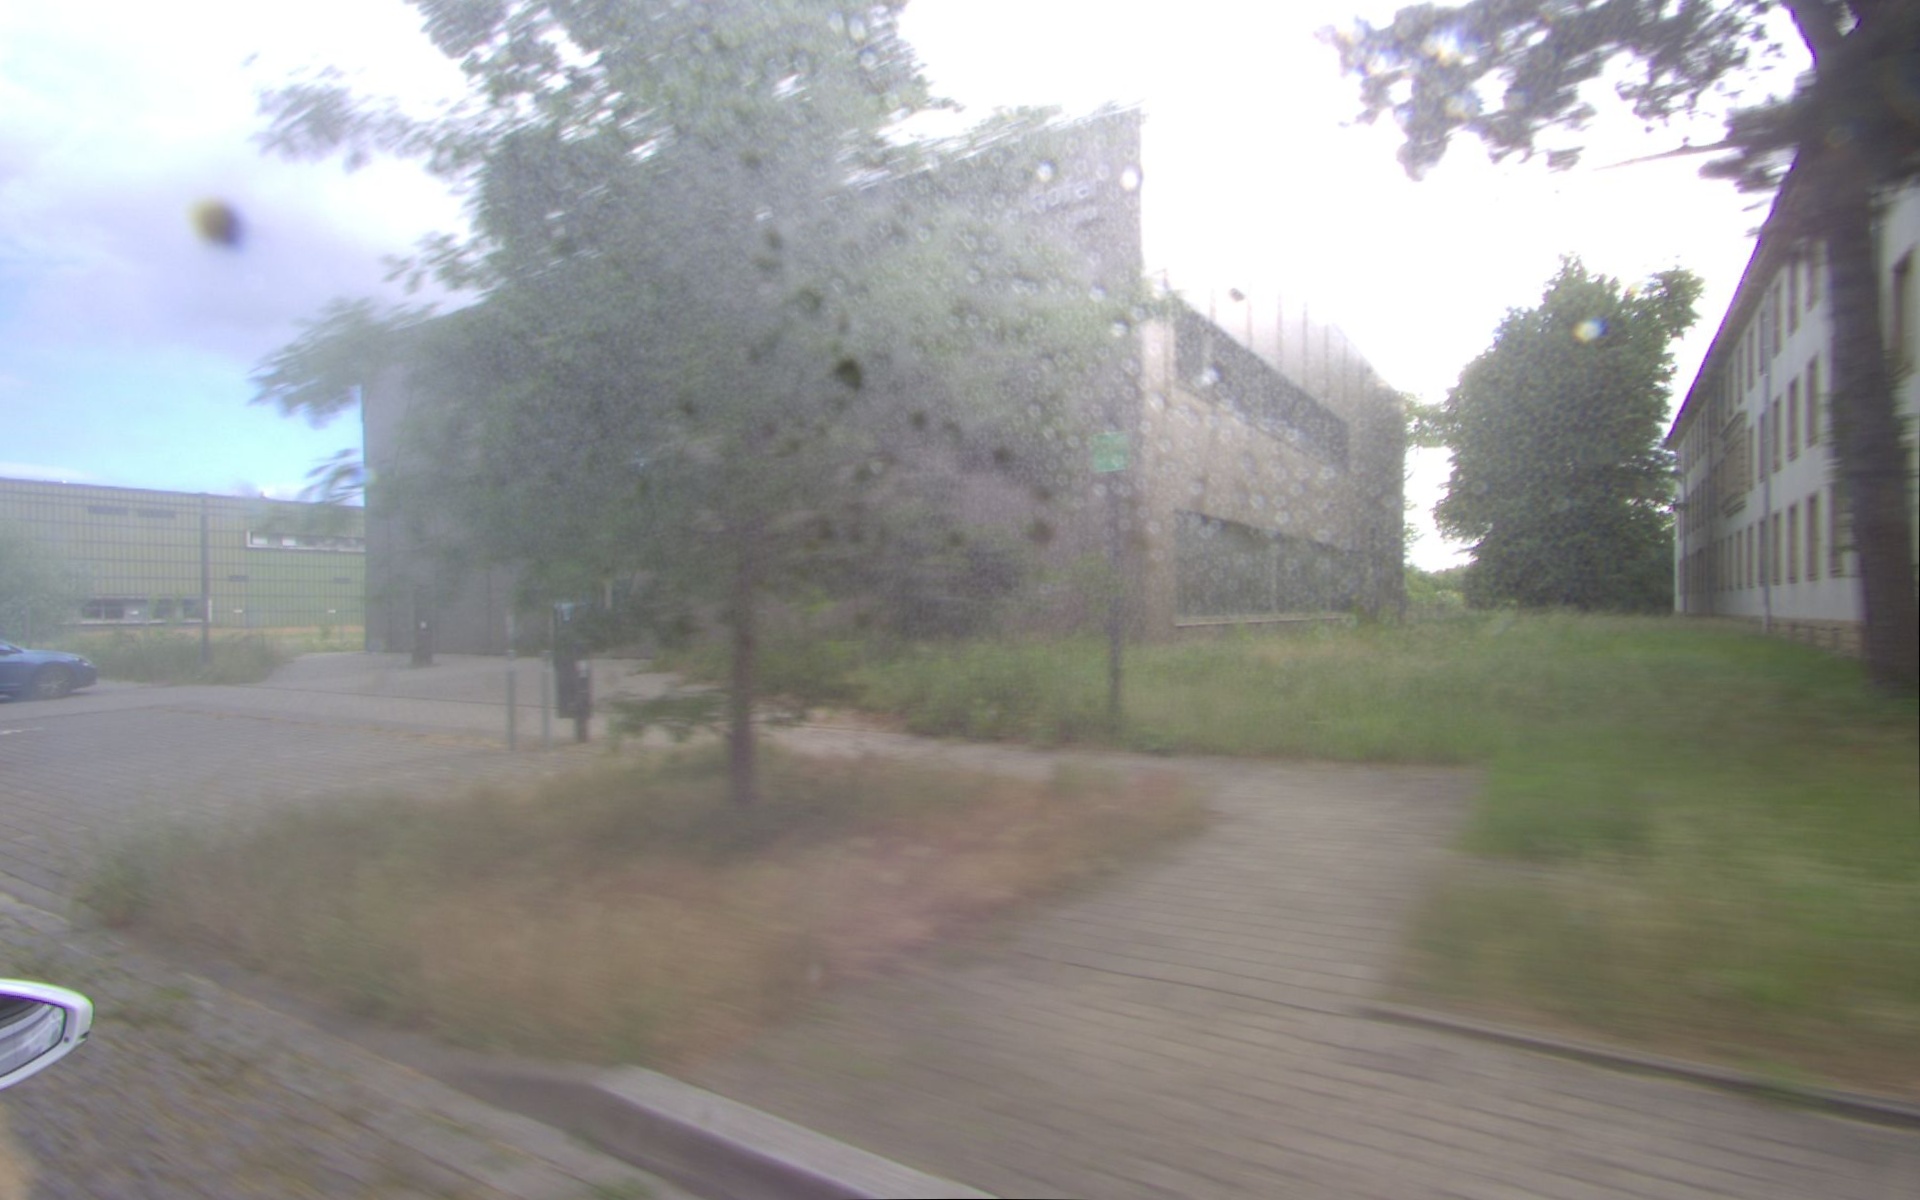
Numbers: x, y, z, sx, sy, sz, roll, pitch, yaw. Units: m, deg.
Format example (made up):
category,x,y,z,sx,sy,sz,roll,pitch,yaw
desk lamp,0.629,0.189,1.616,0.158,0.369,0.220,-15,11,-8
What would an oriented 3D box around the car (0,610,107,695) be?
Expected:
category,x,y,z,sx,sy,sz,roll,pitch,yaw
car,-18.742,1.018,18.249,1.803,1.495,4.482,0,2,30
